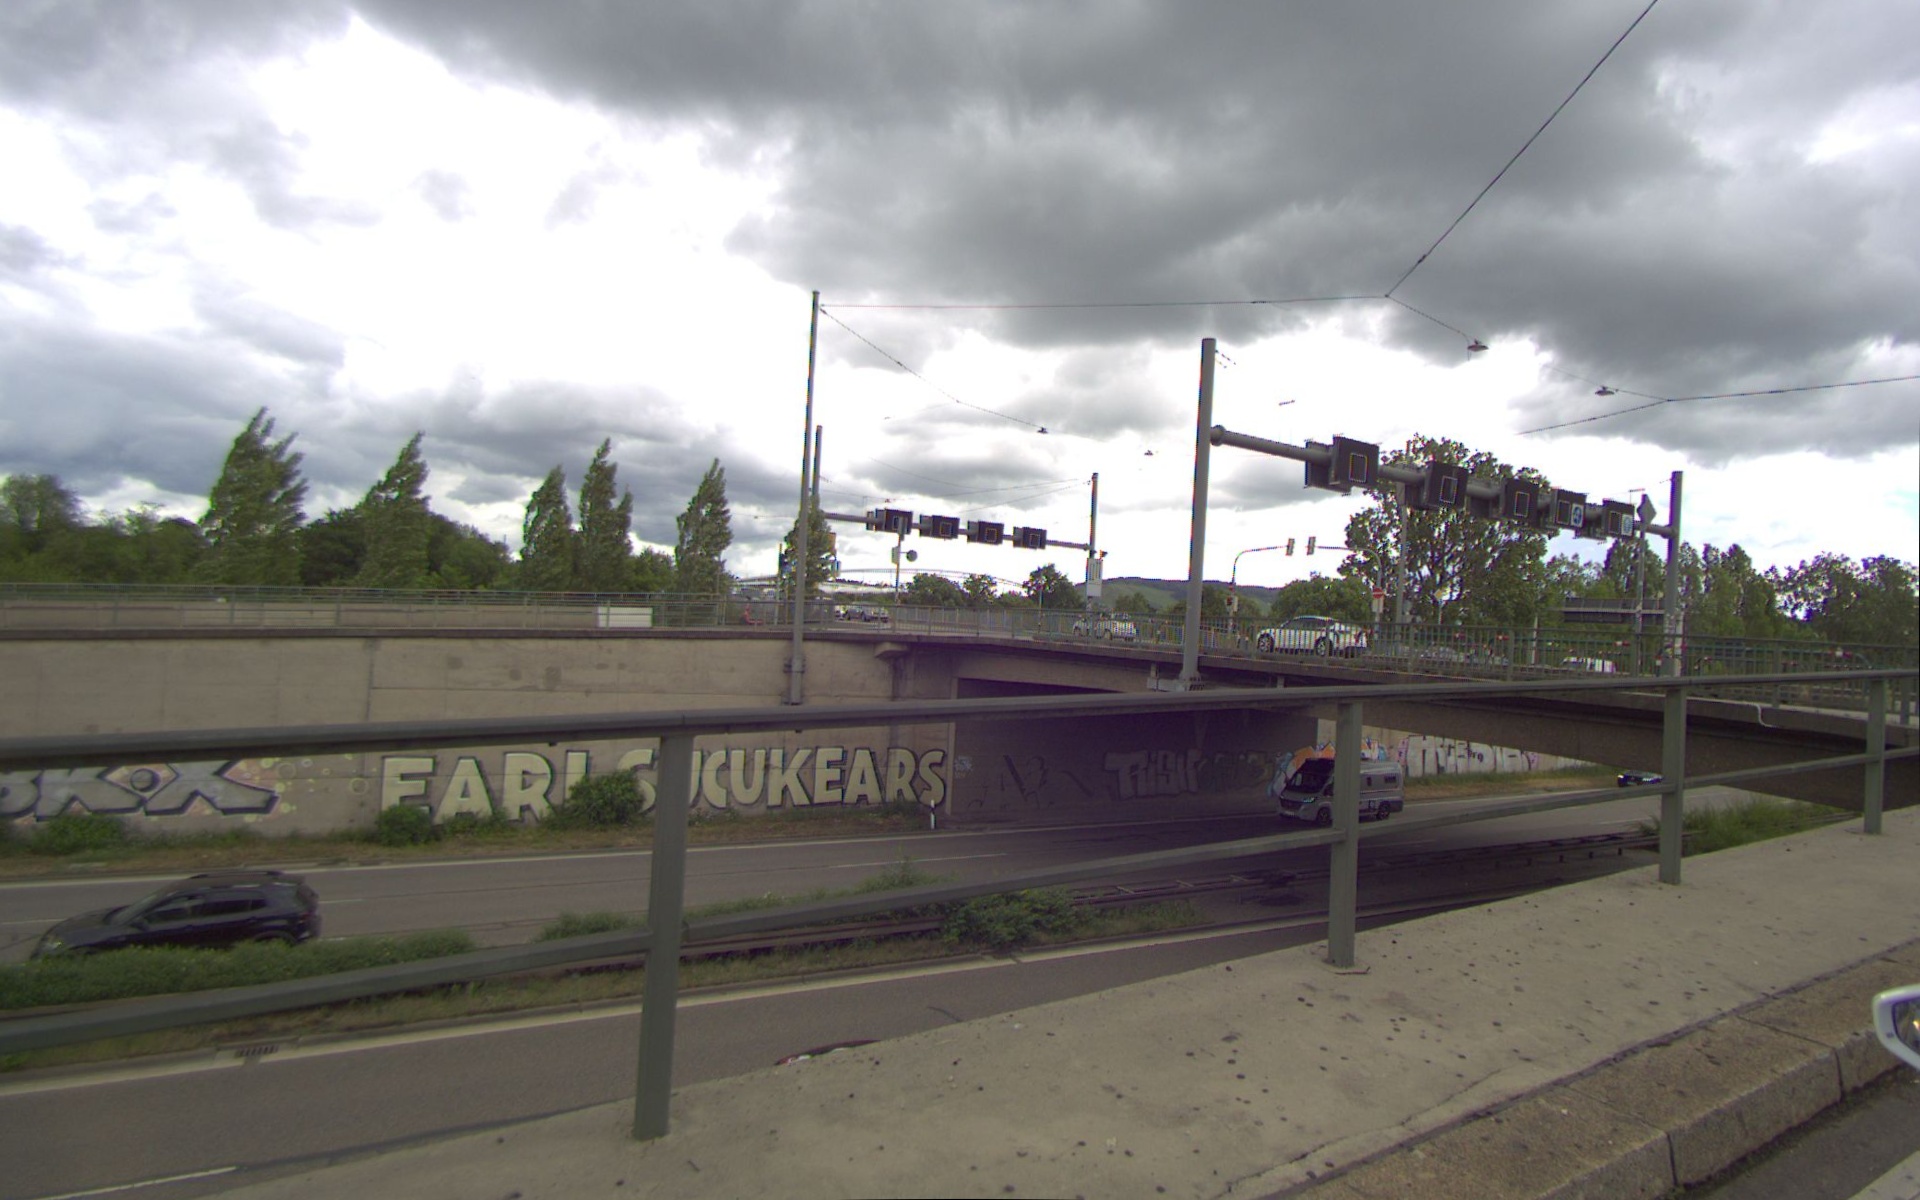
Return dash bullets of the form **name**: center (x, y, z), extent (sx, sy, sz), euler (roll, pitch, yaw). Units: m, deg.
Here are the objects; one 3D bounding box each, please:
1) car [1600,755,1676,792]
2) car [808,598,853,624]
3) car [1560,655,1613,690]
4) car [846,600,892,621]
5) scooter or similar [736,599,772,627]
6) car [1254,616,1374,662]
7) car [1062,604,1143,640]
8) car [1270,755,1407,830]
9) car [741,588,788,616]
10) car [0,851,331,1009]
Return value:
- **car**: center (40.338, 10.285, 59.727), extent (4.537, 1.774, 1.984), euler (4, -2, -30)
- **car**: center (-8.442, 0.700, 65.141), extent (1.560, 1.587, 3.715), euler (1, 0, -31)
- **car**: center (43.831, 5.011, 70.245), extent (3.626, 2.245, 1.843), euler (1, 0, -35)
- **car**: center (-6.034, 0.677, 66.523), extent (1.537, 1.372, 3.860), euler (1, -1, -31)
- **scooter or similar**: center (-8.885, 0.560, 43.305), extent (1.402, 1.108, 0.539), euler (3, -2, -34)
- **car**: center (14.385, 1.549, 41.059), extent (1.917, 1.740, 4.365), euler (1, -1, -33)
- **car**: center (7.260, 1.116, 51.427), extent (1.918, 1.740, 3.961), euler (1, -1, -35)
- **car**: center (16.067, 8.046, 42.481), extent (6.263, 2.567, 2.071), euler (4, -3, -33)
- **car**: center (-14.425, 0.152, 73.883), extent (1.711, 2.040, 4.443), euler (1, 0, -35)
- **car**: center (-13.891, 5.719, 17.880), extent (4.374, 1.865, 1.984), euler (5, -4, -30)
